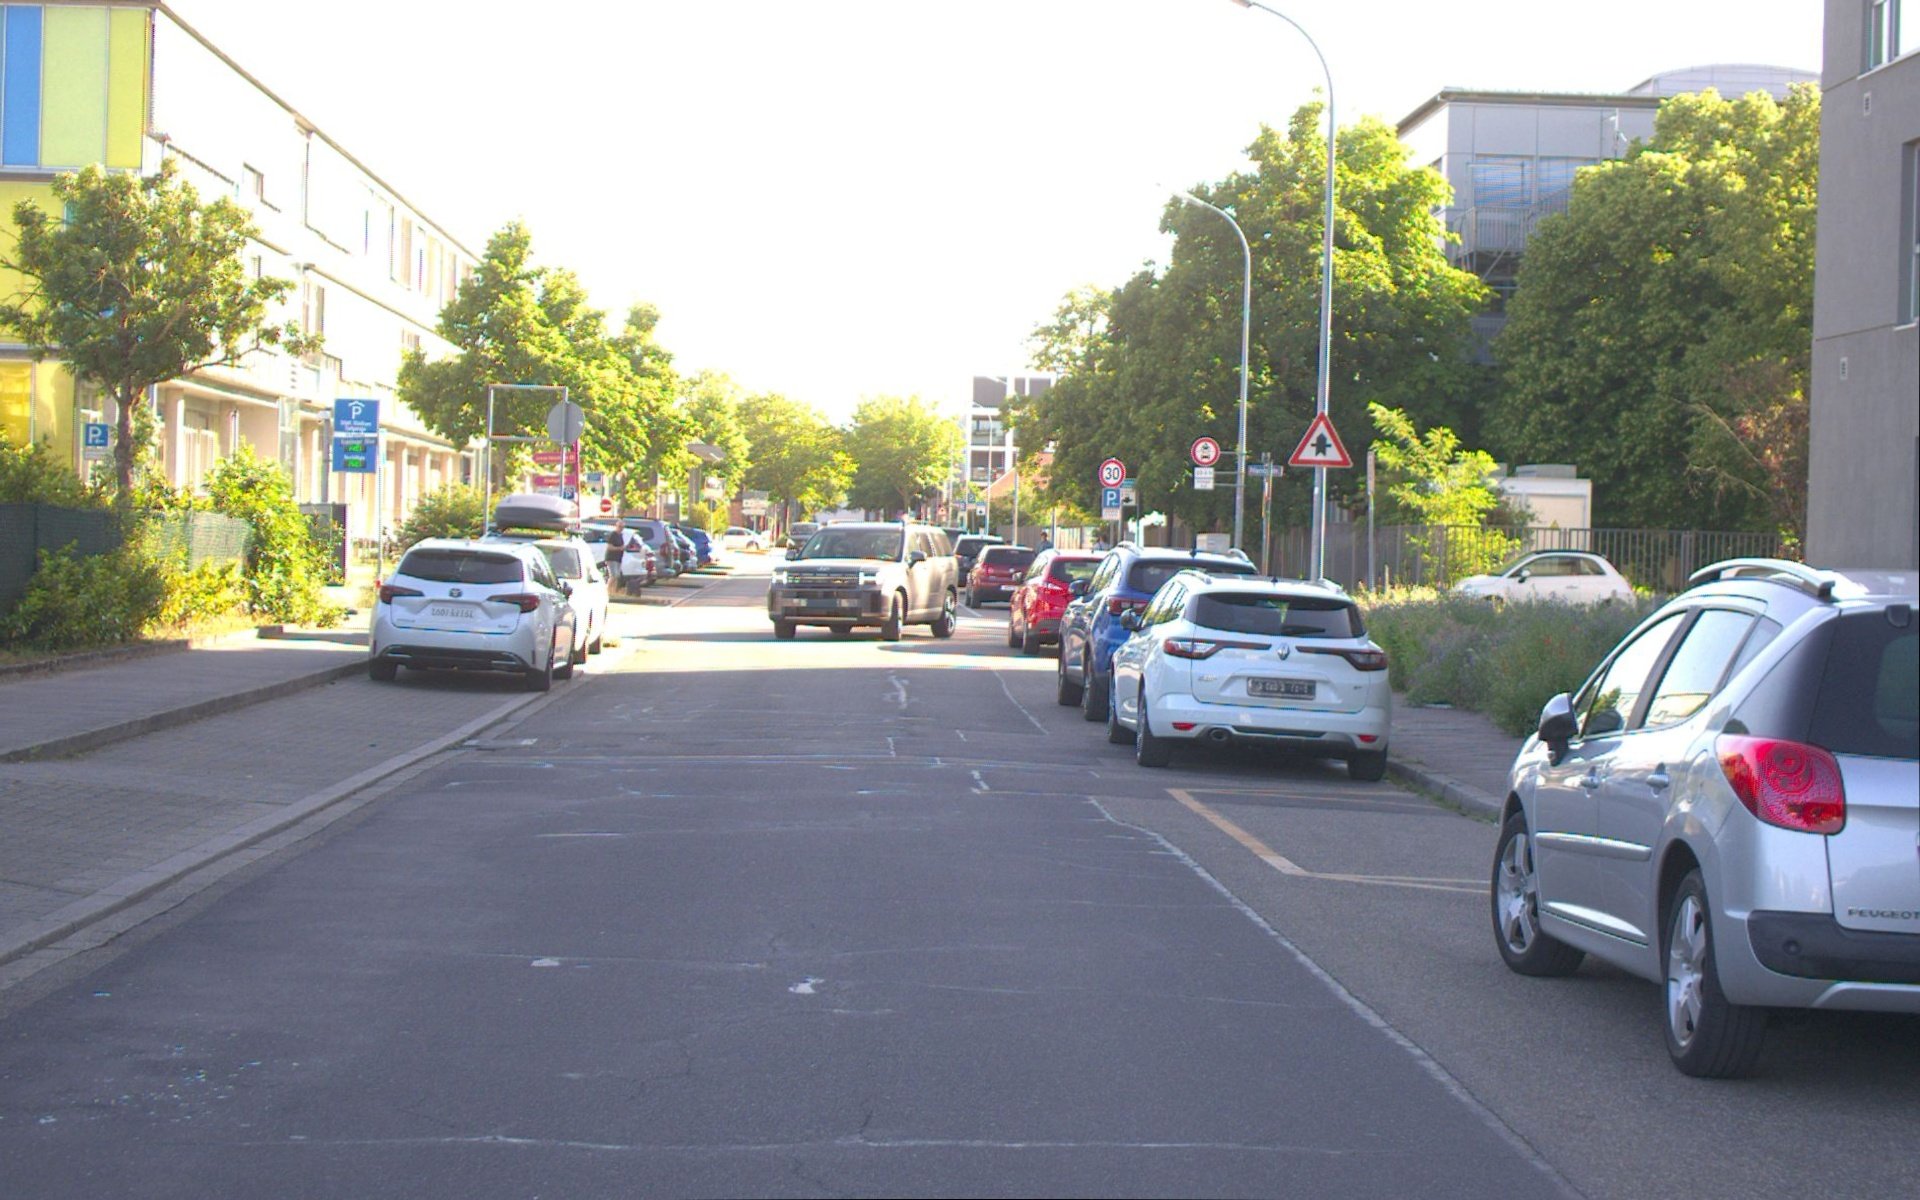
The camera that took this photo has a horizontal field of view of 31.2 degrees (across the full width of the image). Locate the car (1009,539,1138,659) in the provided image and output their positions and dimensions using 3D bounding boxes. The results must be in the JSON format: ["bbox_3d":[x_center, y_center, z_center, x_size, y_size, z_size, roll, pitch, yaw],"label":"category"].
[{"bbox_3d":[1.569,-0.038,48.527,1.445,1.544,3.615,3,1,-3],"label":"car"}]

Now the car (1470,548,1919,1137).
[{"bbox_3d":[2.885,0.658,11.187,1.657,1.546,3.851,3,1,-2],"label":"car"}]

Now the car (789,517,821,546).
[{"bbox_3d":[-8.656,-3.833,192.196,1.664,1.544,3.902,3,1,-3],"label":"car"}]

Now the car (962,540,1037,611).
[{"bbox_3d":[0.909,-0.591,80.736,1.445,1.544,3.615,3,1,-3],"label":"car"}]

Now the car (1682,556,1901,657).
[{"bbox_3d":[13.793,0.094,57.135,3.216,1.455,1.450,3,1,1],"label":"car"}]

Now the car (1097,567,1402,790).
[{"bbox_3d":[2.108,0.531,26.117,1.741,1.423,4.134,3,1,-2],"label":"car"}]

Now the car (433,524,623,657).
[{"bbox_3d":[-5.161,-0.148,41.533,1.854,1.423,4.134,3,1,-2],"label":"car"}]

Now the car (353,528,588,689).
[{"bbox_3d":[-4.881,0.044,34.797,1.854,1.423,4.134,3,1,-2],"label":"car"}]

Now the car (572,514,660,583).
[{"bbox_3d":[-8.585,-1.297,85.992,1.854,1.558,4.134,3,1,-2],"label":"car"}]

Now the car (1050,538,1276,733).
[{"bbox_3d":[1.841,0.280,32.119,1.632,1.625,3.615,3,1,-3],"label":"car"}]

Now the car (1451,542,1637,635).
[{"bbox_3d":[11.045,-0.229,65.162,3.216,1.544,1.450,3,1,1],"label":"car"}]

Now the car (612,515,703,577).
[{"bbox_3d":[-8.267,-1.480,94.280,1.854,1.558,4.134,3,1,3],"label":"car"}]

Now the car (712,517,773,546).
[{"bbox_3d":[-13.240,-4.146,209.238,3.601,1.544,1.450,3,1,-7],"label":"car"}]

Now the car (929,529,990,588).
[{"bbox_3d":[-0.019,-1.188,96.715,1.445,1.544,3.615,3,1,-3],"label":"car"}]

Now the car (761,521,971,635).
[{"bbox_3d":[-1.358,-0.315,51.472,1.845,1.541,4.190,4,1,16],"label":"car"}]
